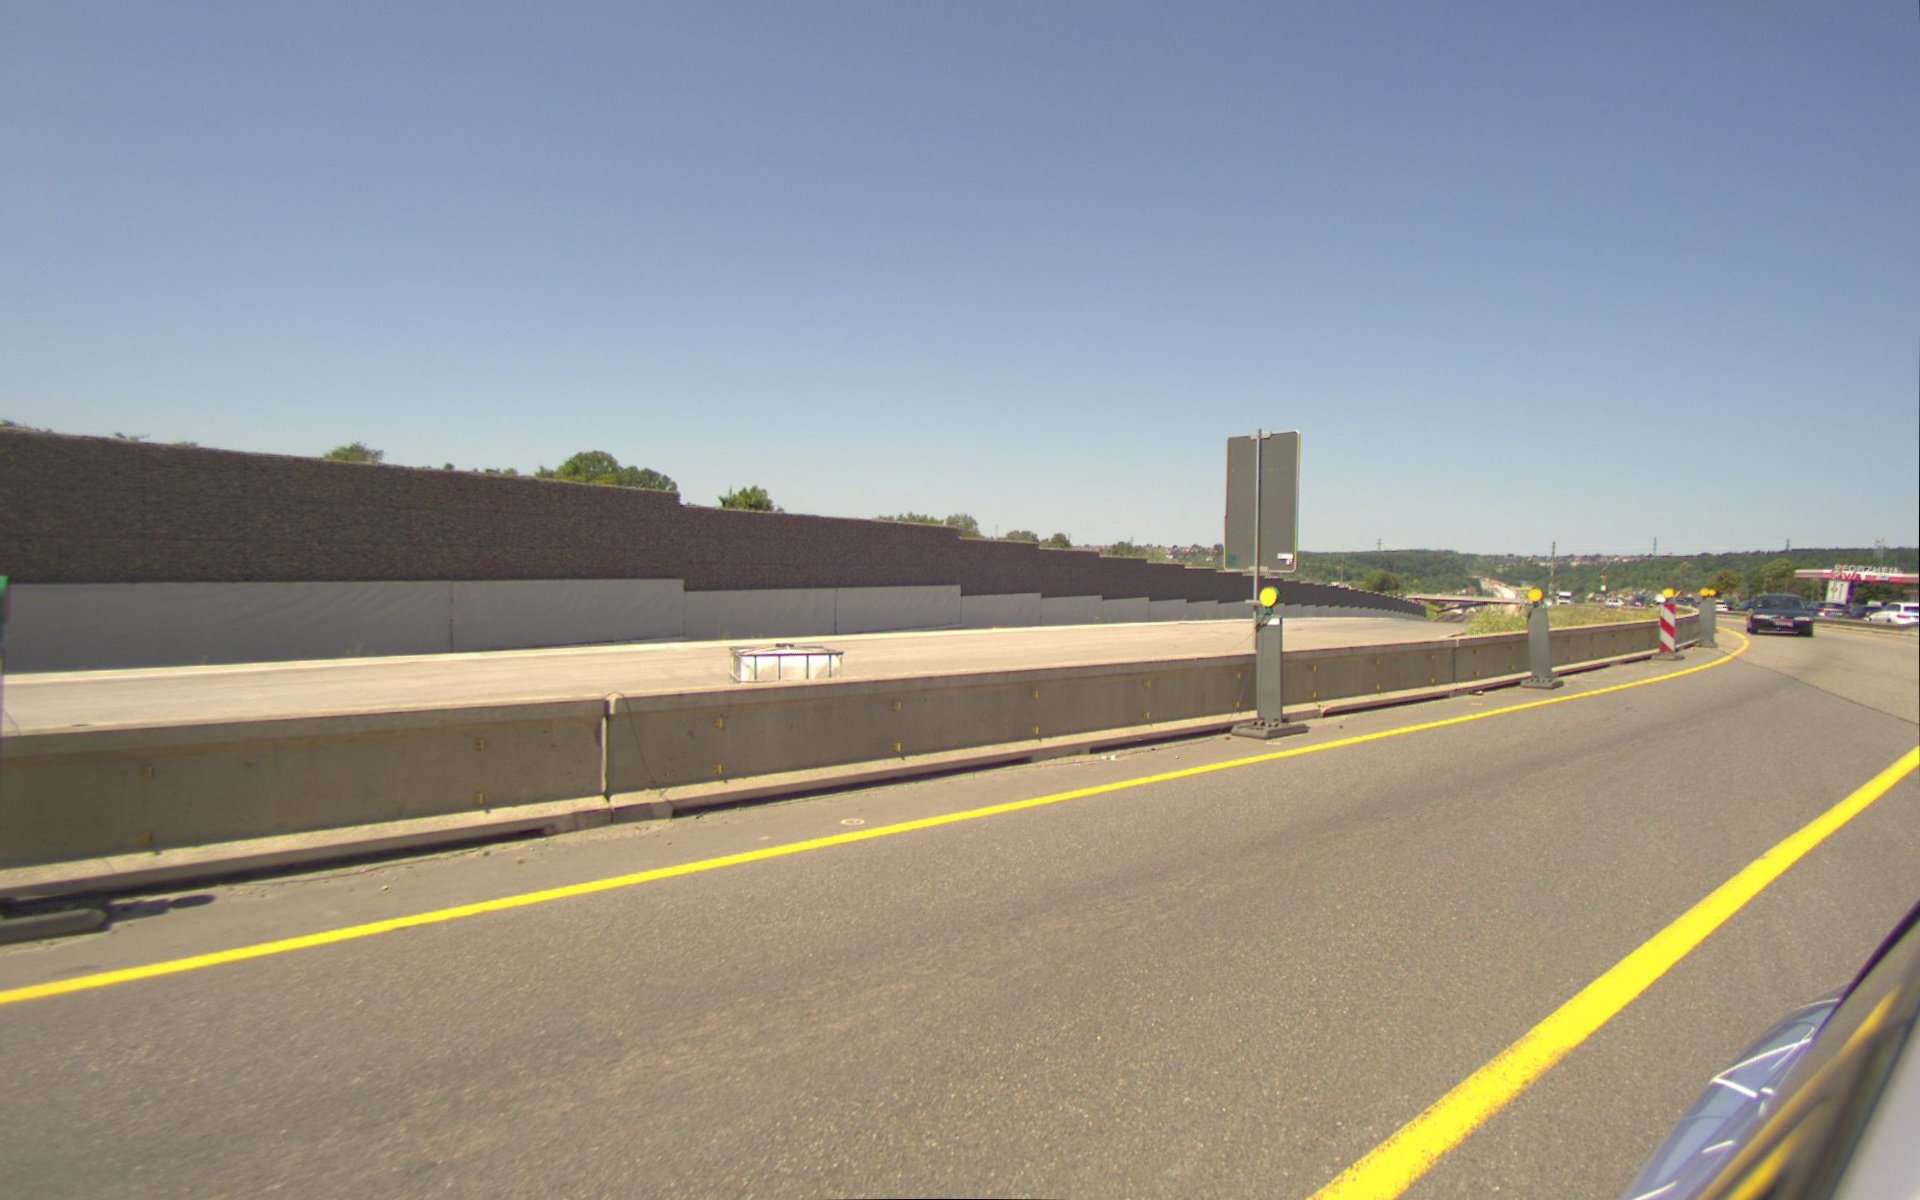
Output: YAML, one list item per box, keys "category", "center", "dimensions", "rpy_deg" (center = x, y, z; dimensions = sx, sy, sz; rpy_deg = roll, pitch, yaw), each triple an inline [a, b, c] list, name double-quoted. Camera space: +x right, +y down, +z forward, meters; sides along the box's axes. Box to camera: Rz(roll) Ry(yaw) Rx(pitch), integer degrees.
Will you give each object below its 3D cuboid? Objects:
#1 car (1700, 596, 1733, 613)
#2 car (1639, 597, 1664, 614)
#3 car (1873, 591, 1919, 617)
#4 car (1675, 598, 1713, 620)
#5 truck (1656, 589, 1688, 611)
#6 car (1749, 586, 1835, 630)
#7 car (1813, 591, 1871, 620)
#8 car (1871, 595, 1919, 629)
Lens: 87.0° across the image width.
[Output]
- category: "car"
  center: [68.789, 0.421, 92.070]
  dimensions: [1.724, 1.497, 4.474]
  rpy_deg: [1, 1, 29]
- category: "car"
  center: [73.594, 0.593, 107.737]
  dimensions: [1.692, 1.705, 3.752]
  rpy_deg: [1, 0, 27]
- category: "car"
  center: [53.737, 0.232, 57.478]
  dimensions: [1.984, 1.417, 4.528]
  rpy_deg: [1, 0, 31]
- category: "car"
  center: [58.719, 0.683, 81.012]
  dimensions: [1.801, 1.683, 3.962]
  rpy_deg: [0, 0, 27]
- category: "truck"
  center: [97.659, -0.026, 138.867]
  dimensions: [2.467, 2.858, 8.045]
  rpy_deg: [5, 2, 29]
- category: "car"
  center: [28.700, 0.300, 35.024]
  dimensions: [1.800, 1.323, 3.951]
  rpy_deg: [5, 2, 33]
- category: "car"
  center: [50.801, 0.302, 58.385]
  dimensions: [1.581, 1.458, 4.082]
  rpy_deg: [6, 3, 29]
- category: "car"
  center: [43.626, 0.525, 46.180]
  dimensions: [2.005, 1.463, 4.541]
  rpy_deg: [1, 1, 29]
